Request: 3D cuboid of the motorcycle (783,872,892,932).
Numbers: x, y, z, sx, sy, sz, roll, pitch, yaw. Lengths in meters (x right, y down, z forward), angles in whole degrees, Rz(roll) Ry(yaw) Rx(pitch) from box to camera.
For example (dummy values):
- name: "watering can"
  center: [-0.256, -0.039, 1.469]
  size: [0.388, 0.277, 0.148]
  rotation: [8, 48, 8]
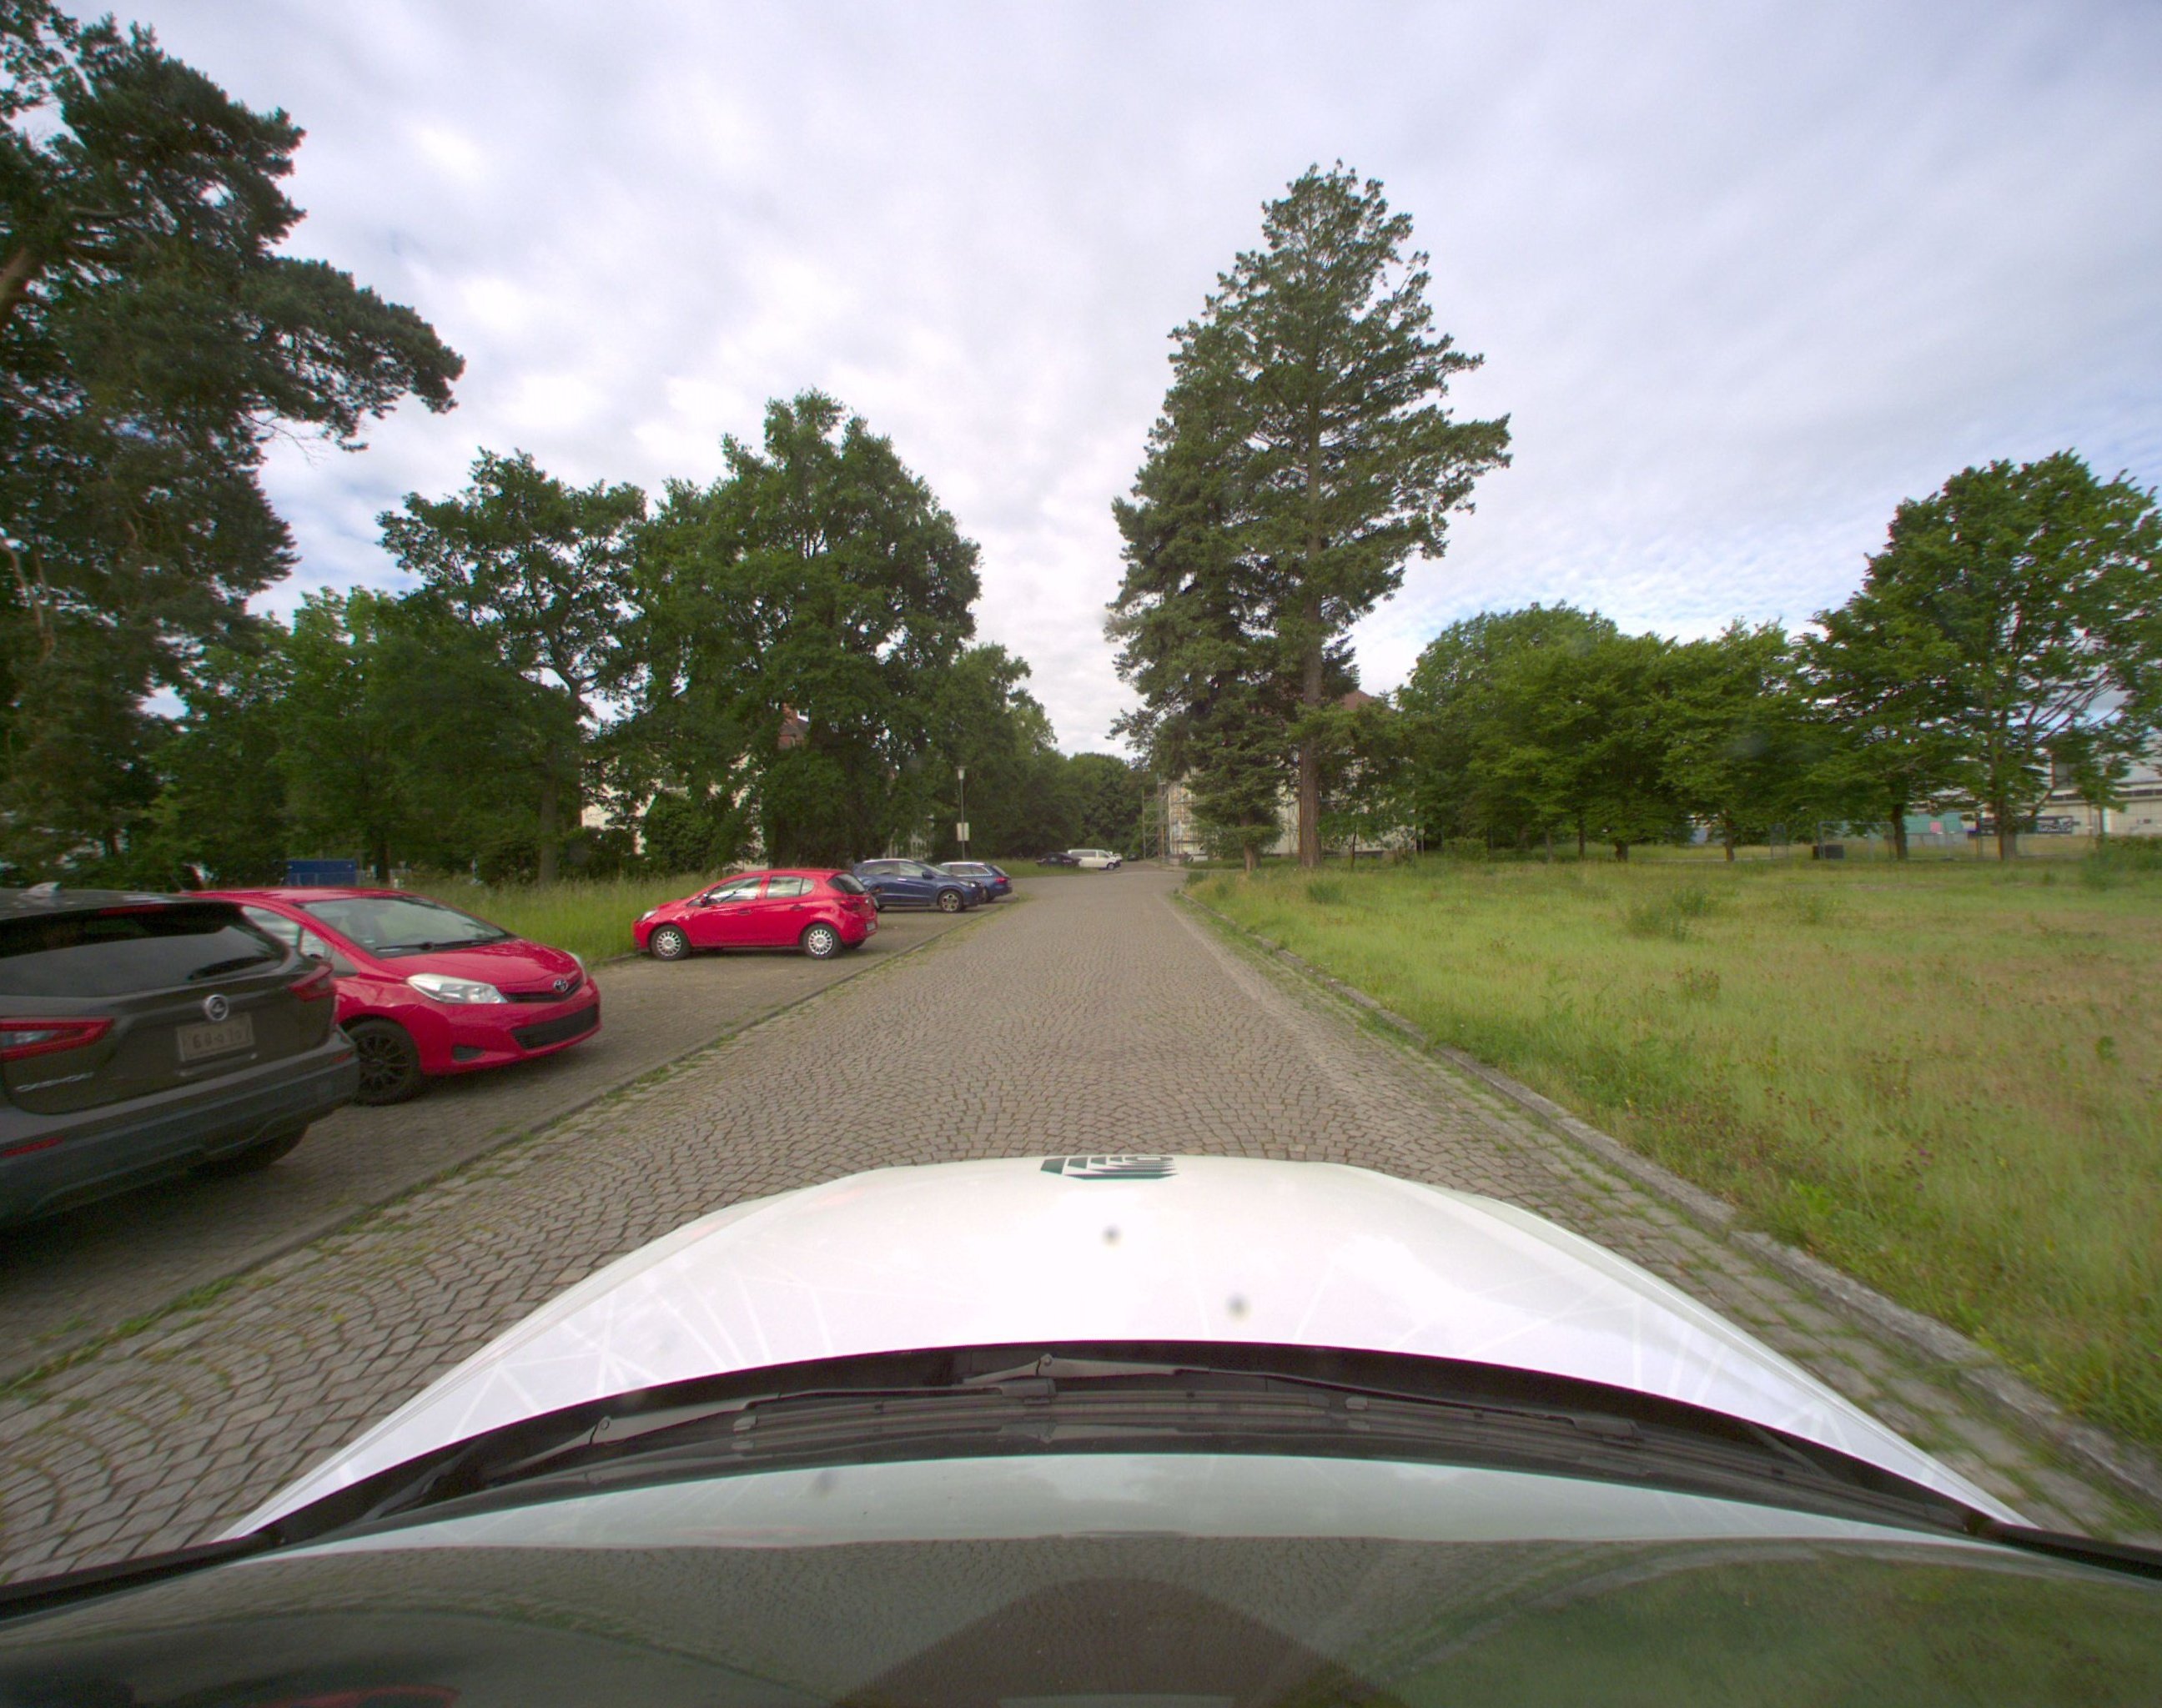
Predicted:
- name: "motorcycle"
  center: [-5.539, 1.085, 18.606]
  size: [2.265, 1.291, 0.719]
  rotation: [-1, 0, 2]

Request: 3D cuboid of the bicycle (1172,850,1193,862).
- name: "bicycle"
  center: [11.298, 0.259, 90.462]
  size: [2.230, 1.254, 0.778]
  rotation: [-2, 0, 4]

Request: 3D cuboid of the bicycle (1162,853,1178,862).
- name: "bicycle"
  center: [12.672, 0.462, 116.256]
  size: [2.230, 1.254, 0.635]
  rotation: [-2, 0, 4]

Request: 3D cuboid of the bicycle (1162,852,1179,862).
- name: "bicycle"
  center: [12.543, 0.446, 113.925]
  size: [2.230, 1.254, 0.627]
  rotation: [-2, 0, 4]

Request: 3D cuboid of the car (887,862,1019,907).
- name: "car"
  center: [-4.496, 1.079, 29.080]
  size: [4.284, 1.461, 1.977]
  rotation: [-1, 0, 3]

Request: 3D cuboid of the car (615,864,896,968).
- name: "car"
  center: [-5.480, 1.017, 14.125]
  size: [4.041, 1.525, 1.905]
  rotation: [-2, 0, 0]

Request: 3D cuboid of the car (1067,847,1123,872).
- name: "car"
  center: [1.295, 0.487, 77.781]
  size: [5.218, 2.168, 2.000]
  rotation: [-2, 0, -1]

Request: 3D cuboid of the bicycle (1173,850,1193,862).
- name: "bicycle"
  center: [11.587, 0.267, 92.367]
  size: [2.230, 1.254, 0.778]
  rotation: [-2, 0, 4]

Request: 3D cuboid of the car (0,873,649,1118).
- name: "car"
  center: [-6.075, 1.000, 6.503]
  size: [4.152, 1.510, 1.908]
  rotation: [-2, 0, 0]

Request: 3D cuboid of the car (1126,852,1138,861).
- name: "car"
  center: [9.031, 0.478, 143.910]
  size: [1.944, 1.521, 4.000]
  rotation: [-2, 0, 1]

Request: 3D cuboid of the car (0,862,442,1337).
- name: "car"
  center: [-5.854, 0.935, 3.754]
  size: [4.153, 1.622, 1.986]
  rotation: [-2, 0, -1]

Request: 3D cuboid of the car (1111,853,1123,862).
- name: "car"
  center: [6.354, 0.582, 143.692]
  size: [2.111, 1.521, 4.001]
  rotation: [-2, 0, 1]

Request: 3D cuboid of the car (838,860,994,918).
- name: "car"
  center: [-4.840, 1.009, 24.354]
  size: [4.213, 1.577, 1.887]
  rotation: [-1, 0, 0]
